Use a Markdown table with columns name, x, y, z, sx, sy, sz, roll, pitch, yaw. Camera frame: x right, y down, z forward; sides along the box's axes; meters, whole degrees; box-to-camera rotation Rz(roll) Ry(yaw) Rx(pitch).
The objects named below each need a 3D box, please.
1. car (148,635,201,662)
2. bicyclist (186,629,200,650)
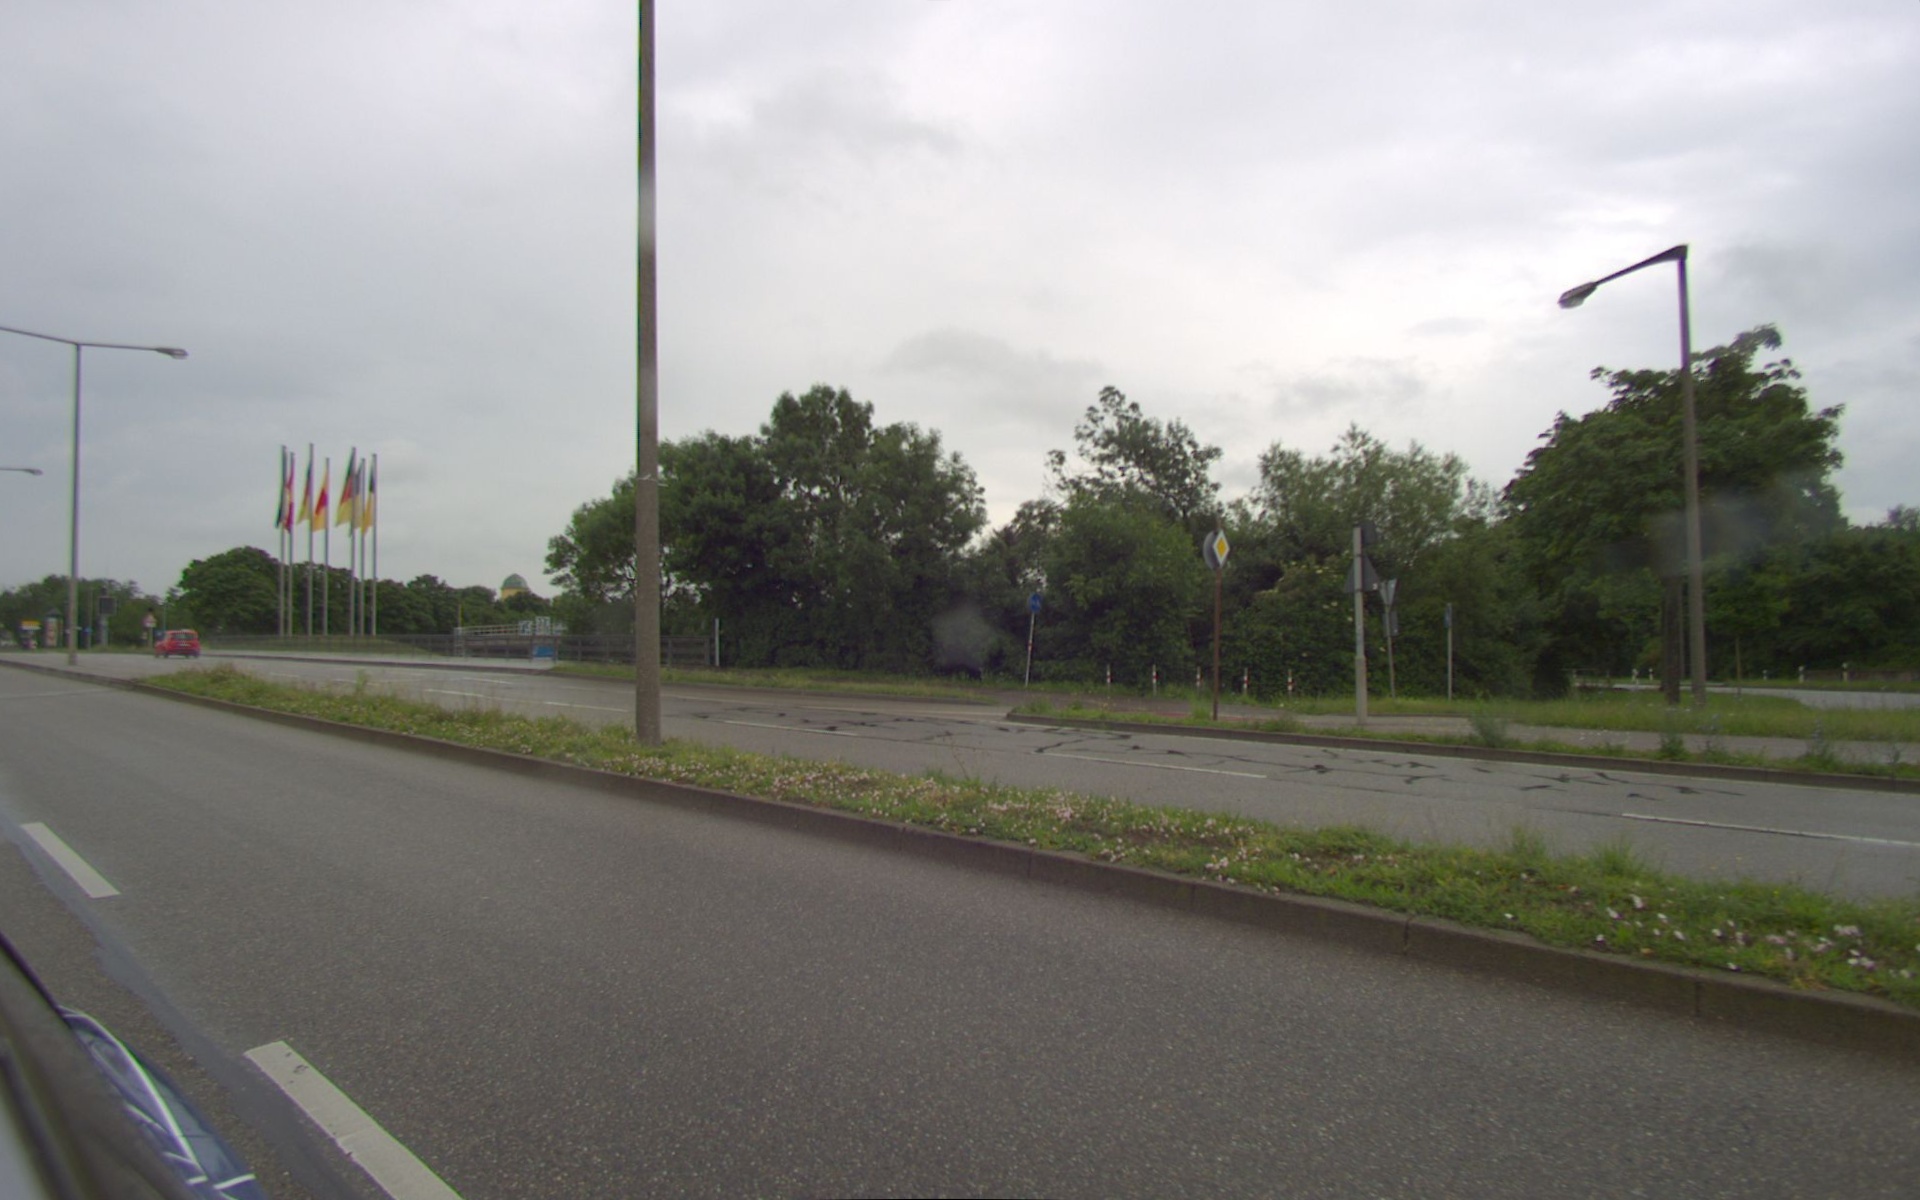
| name | x | y | z | sx | sy | sz | roll | pitch | yaw |
| --- | --- | --- | --- | --- | --- | --- | --- | --- | --- |
| car | -44.448 | 2.729 | 57.268 | 3.555 | 1.459 | 1.643 | -2 | -4 | 41 |
| bicyclist | -57.407 | 2.963 | 75.731 | 1.002 | 1.511 | 0.613 | -2 | -1 | 41 |
